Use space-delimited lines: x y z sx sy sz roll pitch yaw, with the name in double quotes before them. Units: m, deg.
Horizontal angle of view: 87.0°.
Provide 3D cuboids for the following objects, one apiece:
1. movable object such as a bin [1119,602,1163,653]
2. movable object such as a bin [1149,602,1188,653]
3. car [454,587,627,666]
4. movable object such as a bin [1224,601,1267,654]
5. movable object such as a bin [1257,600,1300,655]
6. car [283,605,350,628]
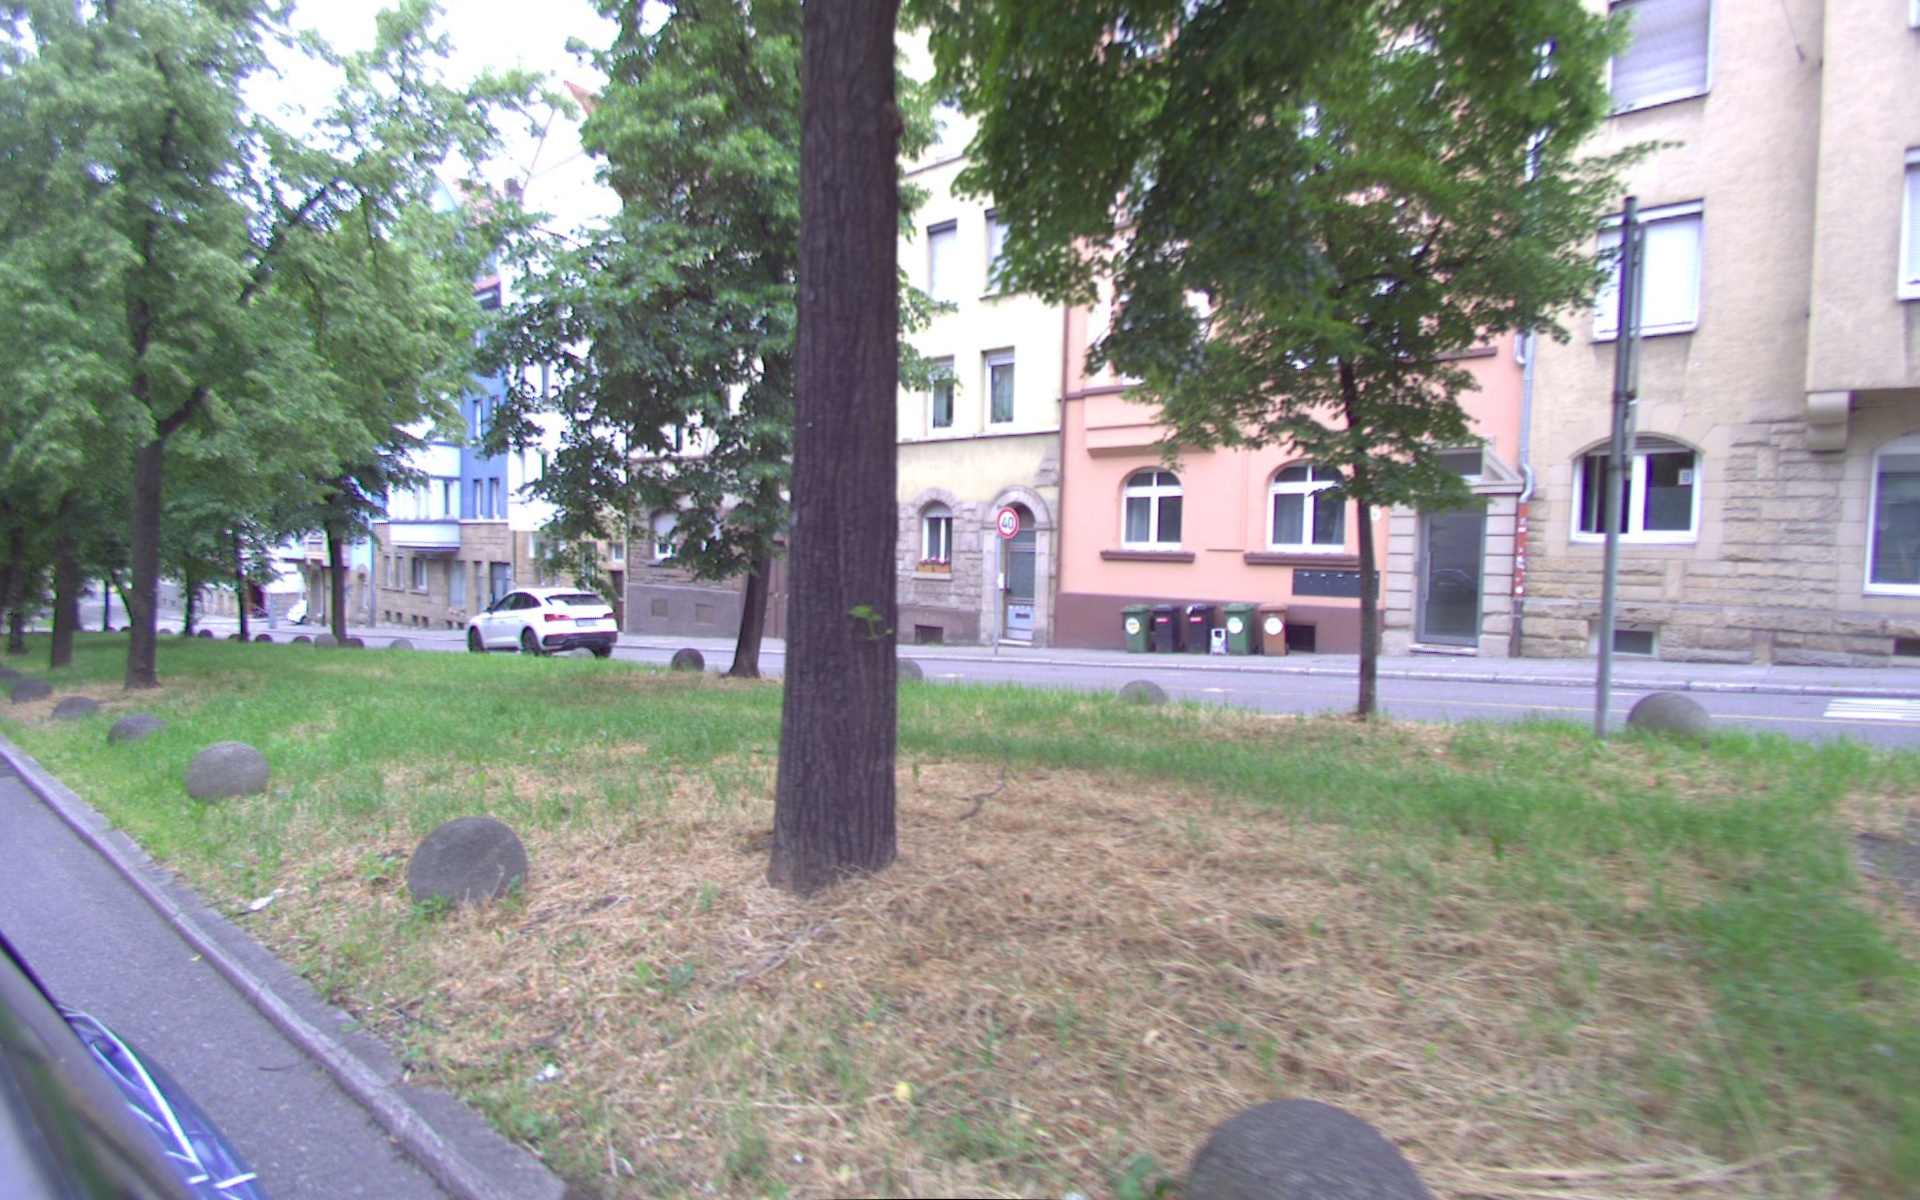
"movable object such as a bin" 3.513 0.519 19.669 0.617 0.955 0.610 -1 0 40
"movable object such as a bin" 3.968 0.512 19.268 0.531 0.953 0.575 -1 0 35
"car" -9.746 0.615 23.343 4.488 1.640 1.875 -2 -1 41
"movable object such as a bin" 5.146 0.485 18.239 0.558 0.928 0.648 -1 0 36
"movable object such as a bin" 5.616 0.476 17.838 0.514 0.928 0.750 -1 0 36
"car" -39.392 0.988 61.961 3.244 1.341 1.674 -1 0 -40
